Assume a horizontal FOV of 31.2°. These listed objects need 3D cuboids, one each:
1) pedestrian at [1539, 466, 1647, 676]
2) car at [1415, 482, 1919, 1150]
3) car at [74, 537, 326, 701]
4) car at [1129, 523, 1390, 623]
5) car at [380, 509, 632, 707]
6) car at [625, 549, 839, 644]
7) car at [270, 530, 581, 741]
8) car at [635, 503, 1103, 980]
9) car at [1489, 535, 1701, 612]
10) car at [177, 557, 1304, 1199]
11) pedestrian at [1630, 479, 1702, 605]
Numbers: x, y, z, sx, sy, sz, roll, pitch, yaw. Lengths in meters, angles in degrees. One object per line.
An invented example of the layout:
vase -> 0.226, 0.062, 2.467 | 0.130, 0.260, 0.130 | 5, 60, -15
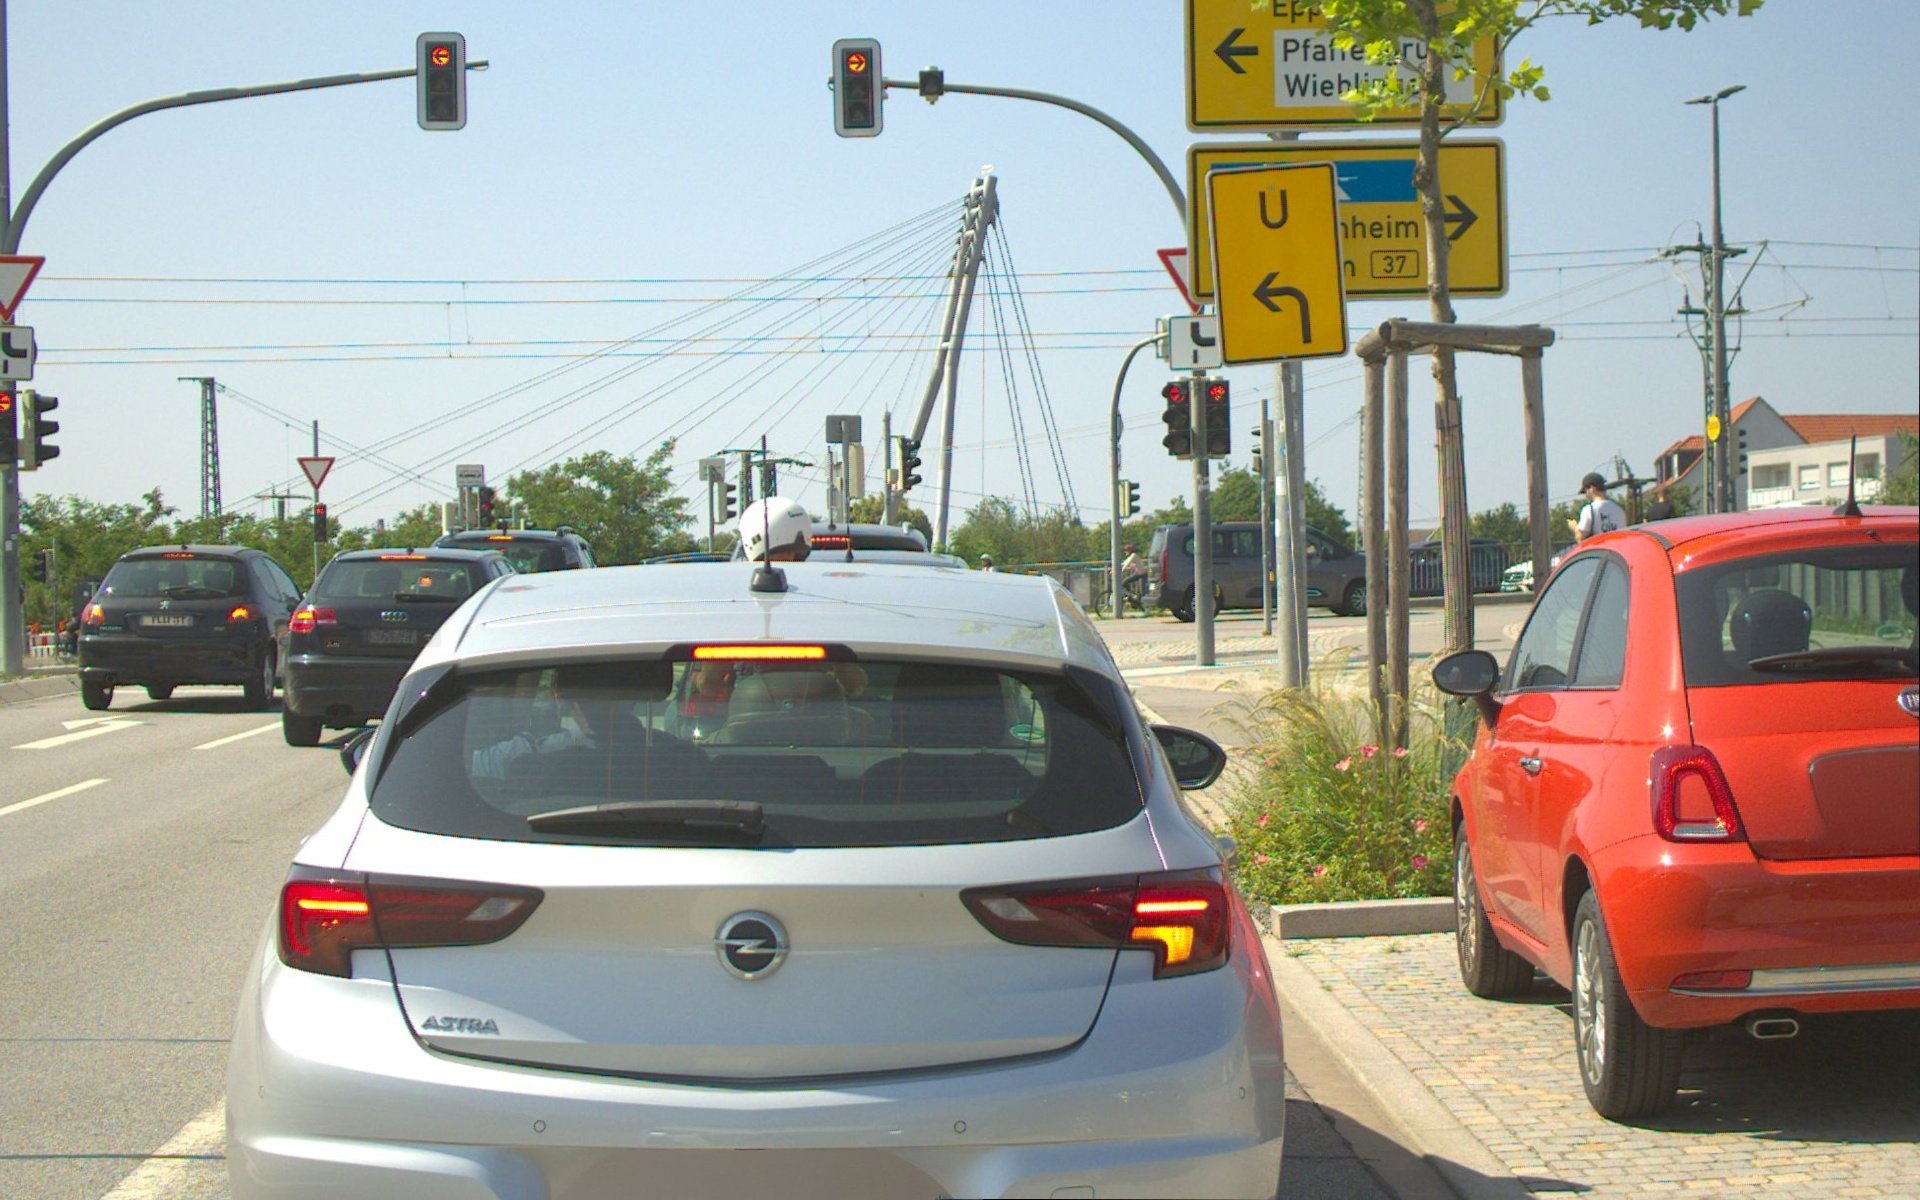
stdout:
pedestrian -> 5.604, -0.255, 30.467 | 0.758, 1.823, 0.885 | 1, 0, -1
car -> 2.391, 0.446, 10.029 | 1.669, 1.534, 3.917 | -2, 2, 2
car -> -6.778, 0.158, 30.928 | 1.587, 1.390, 3.340 | 0, 0, -1
car -> 5.526, -0.491, 63.799 | 4.547, 1.777, 2.000 | 1, 0, -4
car -> -4.110, 0.065, 31.685 | 1.803, 1.616, 3.917 | -3, 0, -1
car -> -4.187, -0.066, 63.454 | 3.845, 1.678, 1.665 | 1, 0, -1
car -> -3.912, 0.242, 25.746 | 1.705, 1.407, 4.000 | 1, 0, 0
car -> -0.368, 0.504, 14.159 | 1.634, 1.668, 3.745 | 1, 0, -1
car -> 14.267, -0.589, 77.312 | 4.244, 1.668, 2.001 | 0, 0, -18
car -> -0.376, 0.671, 7.315 | 1.690, 1.514, 4.271 | 0, 1, -1
pedestrian -> 10.594, -0.863, 51.580 | 0.753, 1.857, 0.740 | 1, 0, 44
